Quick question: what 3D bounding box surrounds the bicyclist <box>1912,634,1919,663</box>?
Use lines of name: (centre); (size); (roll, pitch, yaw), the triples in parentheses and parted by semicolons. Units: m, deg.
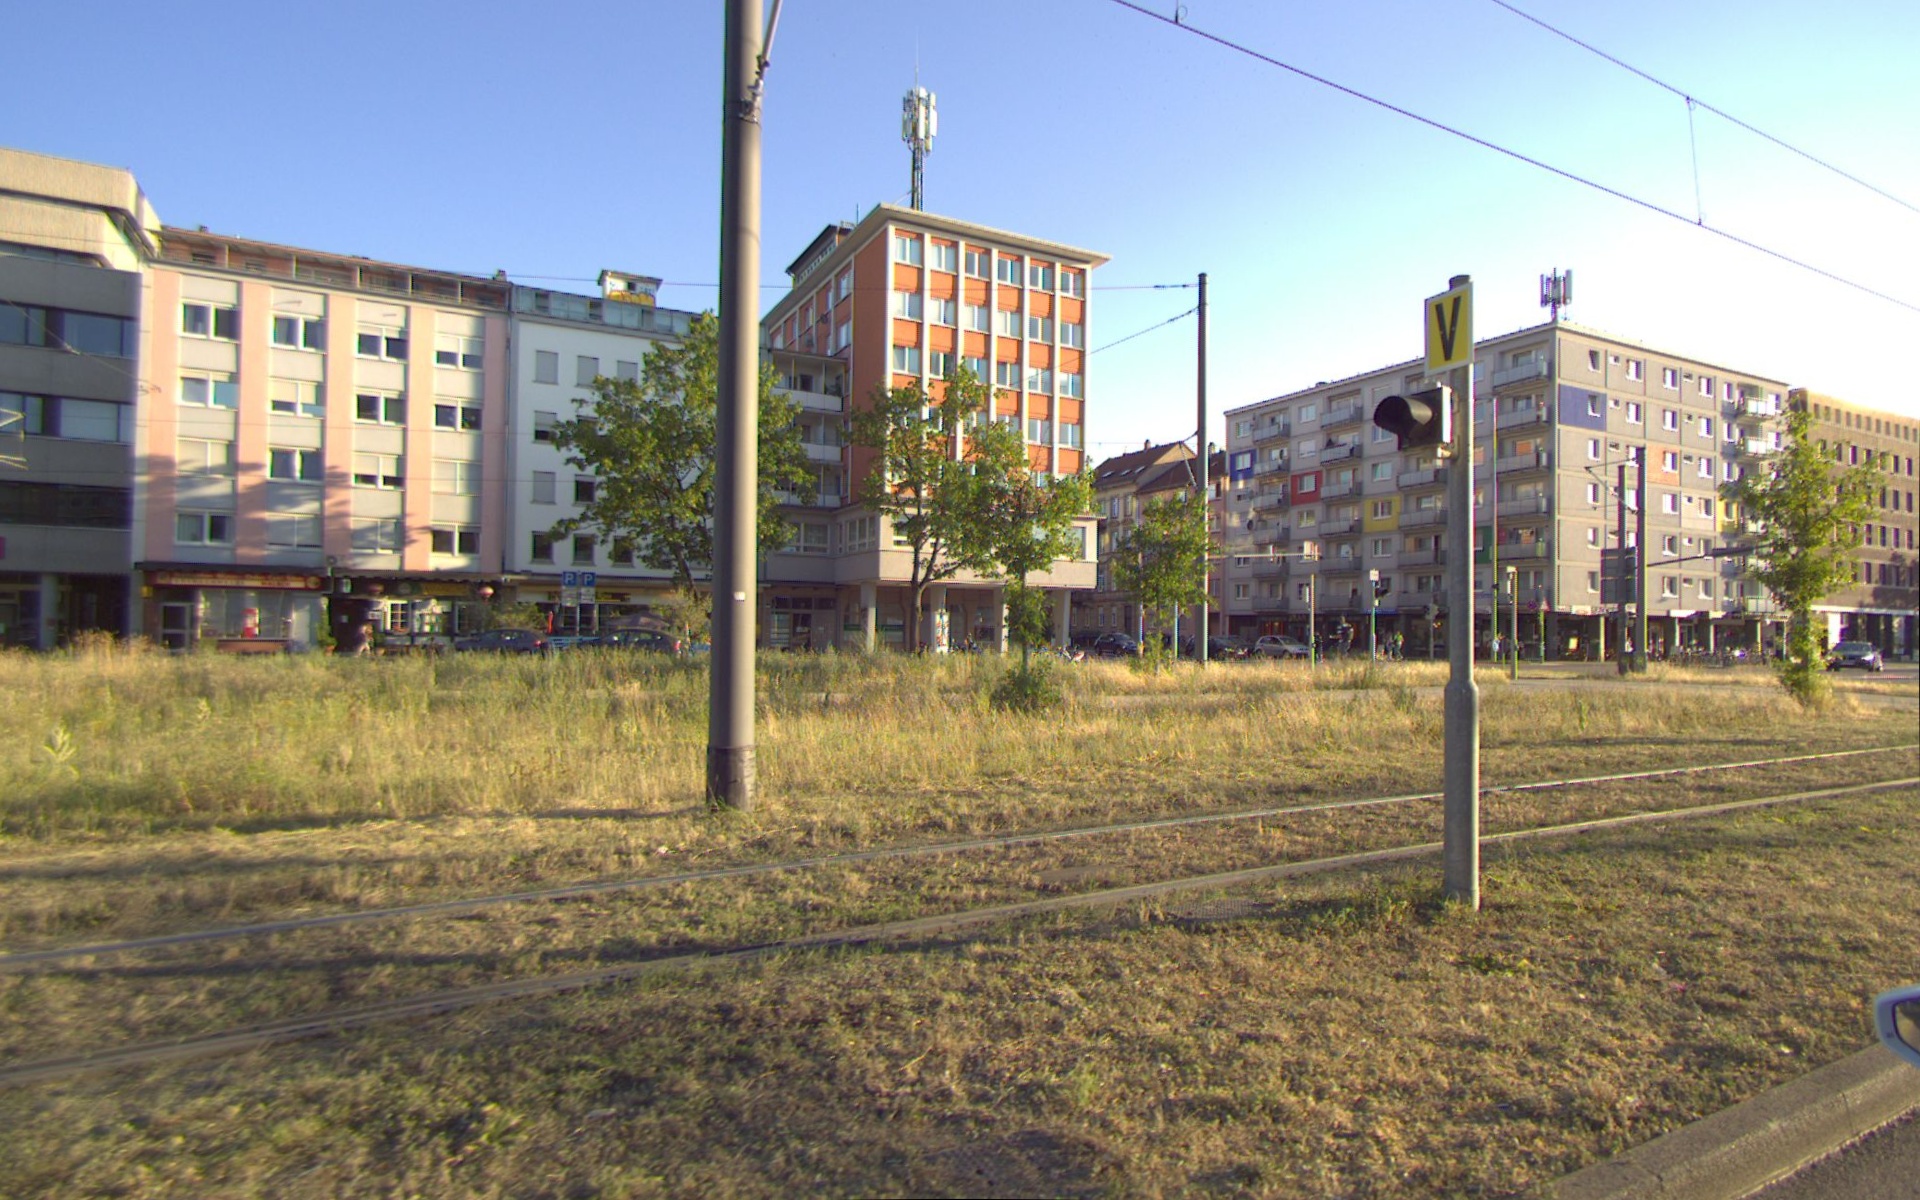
bicyclist: (49.002, 2.470, 50.938); (0.839, 1.462, 0.663); (1, 1, -3)

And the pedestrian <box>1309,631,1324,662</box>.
pedestrian: (19.407, 2.530, 54.712); (0.607, 1.651, 0.512); (0, -1, -27)

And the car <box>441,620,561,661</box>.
car: (-18.053, 1.583, 39.618); (3.924, 1.547, 1.759); (0, -1, -5)

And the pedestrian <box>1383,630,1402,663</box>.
pedestrian: (24.838, 2.655, 57.715); (0.812, 1.872, 0.600); (0, -1, -28)

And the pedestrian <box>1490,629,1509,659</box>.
pedestrian: (30.656, 2.507, 57.093); (0.767, 1.692, 0.741); (-1, -1, 15)

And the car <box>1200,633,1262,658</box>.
car: (18.309, 3.040, 67.911); (1.784, 1.606, 3.843); (0, -1, -33)

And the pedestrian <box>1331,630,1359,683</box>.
pedestrian: (13.344, 1.953, 34.826); (0.638, 1.786, 0.721); (0, -1, -7)

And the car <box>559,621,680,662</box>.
car: (-13.413, 1.632, 39.737); (4.210, 1.547, 1.759); (0, -1, -5)

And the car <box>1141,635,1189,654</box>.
car: (18.467, 3.978, 90.495); (1.784, 1.606, 4.262); (0, -1, -32)

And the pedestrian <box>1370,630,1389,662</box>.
pedestrian: (24.453, 2.676, 58.576); (0.727, 1.876, 0.702); (0, -1, -27)

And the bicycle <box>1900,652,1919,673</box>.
bicycle: (48.869, 3.161, 50.941); (1.700, 0.983, 0.704); (1, 2, -2)

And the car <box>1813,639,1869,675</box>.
car: (42.584, 2.720, 48.630); (1.691, 1.453, 3.985); (1, 0, 37)

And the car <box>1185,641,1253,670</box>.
car: (15.709, 3.339, 61.058); (1.784, 1.606, 3.843); (0, -1, -33)

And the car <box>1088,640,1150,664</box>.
car: (11.155, 3.635, 70.720); (1.967, 1.606, 4.256); (0, -1, -33)

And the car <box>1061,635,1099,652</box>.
car: (11.918, 4.270, 99.796); (1.784, 1.606, 3.843); (0, -1, -33)

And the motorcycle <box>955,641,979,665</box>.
motorcycle: (0.339, 2.526, 47.958); (0.524, 1.082, 1.444); (0, -1, -28)

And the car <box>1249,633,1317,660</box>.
car: (20.592, 2.937, 64.157); (1.784, 1.606, 3.843); (0, -1, -33)

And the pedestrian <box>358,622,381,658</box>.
pedestrian: (-25.441, 1.713, 43.307); (0.843, 1.548, 1.113); (0, -1, -30)
